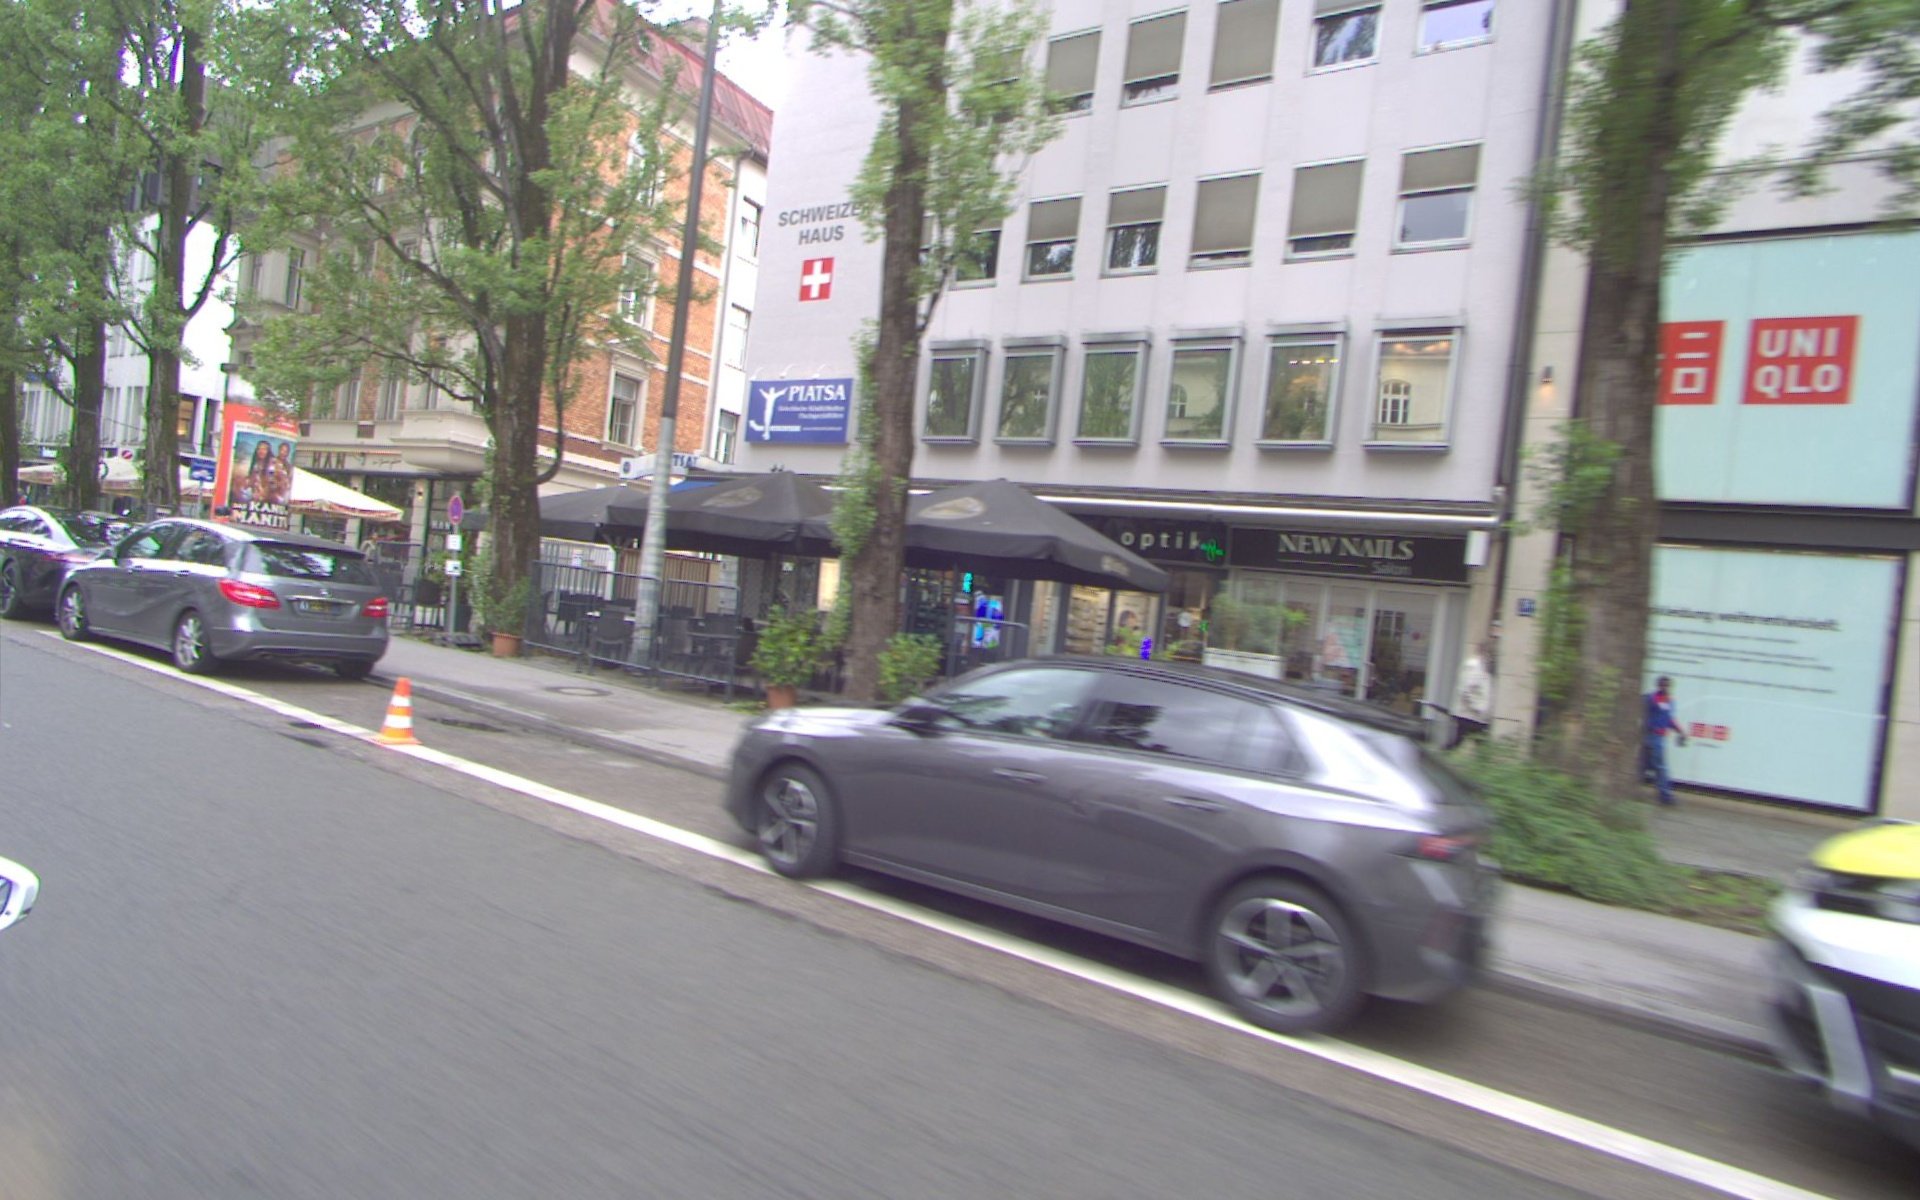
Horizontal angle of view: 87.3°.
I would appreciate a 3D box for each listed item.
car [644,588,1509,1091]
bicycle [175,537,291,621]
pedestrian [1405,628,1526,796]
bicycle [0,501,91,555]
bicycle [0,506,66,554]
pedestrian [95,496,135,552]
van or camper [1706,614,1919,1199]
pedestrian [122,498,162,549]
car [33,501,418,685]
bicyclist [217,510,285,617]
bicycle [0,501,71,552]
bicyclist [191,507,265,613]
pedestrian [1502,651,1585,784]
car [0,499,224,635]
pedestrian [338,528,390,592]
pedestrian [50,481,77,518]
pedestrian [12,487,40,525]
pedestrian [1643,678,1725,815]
[{"bbox_3d":[0.505,0.963,5.546,4.280,1.458,1.724,7,-2,30],"label":"car"},{"bbox_3d":[-11.801,-0.351,16.309,2.226,1.100,0.627,7,0,31],"label":"bicycle"},{"bbox_3d":[6.232,1.347,12.400,1.081,1.864,0.827,7,1,32],"label":"pedestrian"},{"bbox_3d":[-25.176,-1.959,27.592,0.566,1.207,1.874,7,0,27],"label":"bicycle"},{"bbox_3d":[-26.089,-1.957,27.913,0.364,1.153,1.834,7,0,26],"label":"bicycle"},{"bbox_3d":[-29.788,-2.674,35.461,0.916,1.825,0.729,7,1,32],"label":"pedestrian"},{"bbox_3d":[5.273,1.309,2.784,4.822,1.905,1.871,7,-1,32],"label":"van or camper"},{"bbox_3d":[-29.320,-2.738,36.067,0.916,1.698,0.729,7,1,32],"label":"pedestrian"},{"bbox_3d":[-8.283,-0.106,11.290,4.159,1.525,1.820,7,0,29],"label":"car"},{"bbox_3d":[-11.276,-0.575,16.000,0.473,1.608,0.622,7,1,31],"label":"bicyclist"},{"bbox_3d":[-25.691,-2.023,27.687,0.413,1.207,1.715,7,0,27],"label":"bicycle"},{"bbox_3d":[-11.941,-0.647,16.408,0.740,1.608,0.622,7,1,31],"label":"bicyclist"},{"bbox_3d":[7.749,1.547,13.355,0.759,1.628,0.670,6,-1,35],"label":"pedestrian"},{"bbox_3d":[-12.373,-0.554,13.828,4.724,1.450,1.881,7,0,31],"label":"car"},{"bbox_3d":[-16.546,-1.103,27.926,0.974,1.629,0.729,7,1,32],"label":"pedestrian"},{"bbox_3d":[-43.060,-4.843,48.326,0.755,1.645,0.734,6,-1,41],"label":"pedestrian"},{"bbox_3d":[-43.243,-4.347,46.599,0.692,1.647,0.654,7,1,29],"label":"pedestrian"},{"bbox_3d":[9.371,1.867,13.025,0.674,1.629,0.669,7,1,37],"label":"pedestrian"}]
